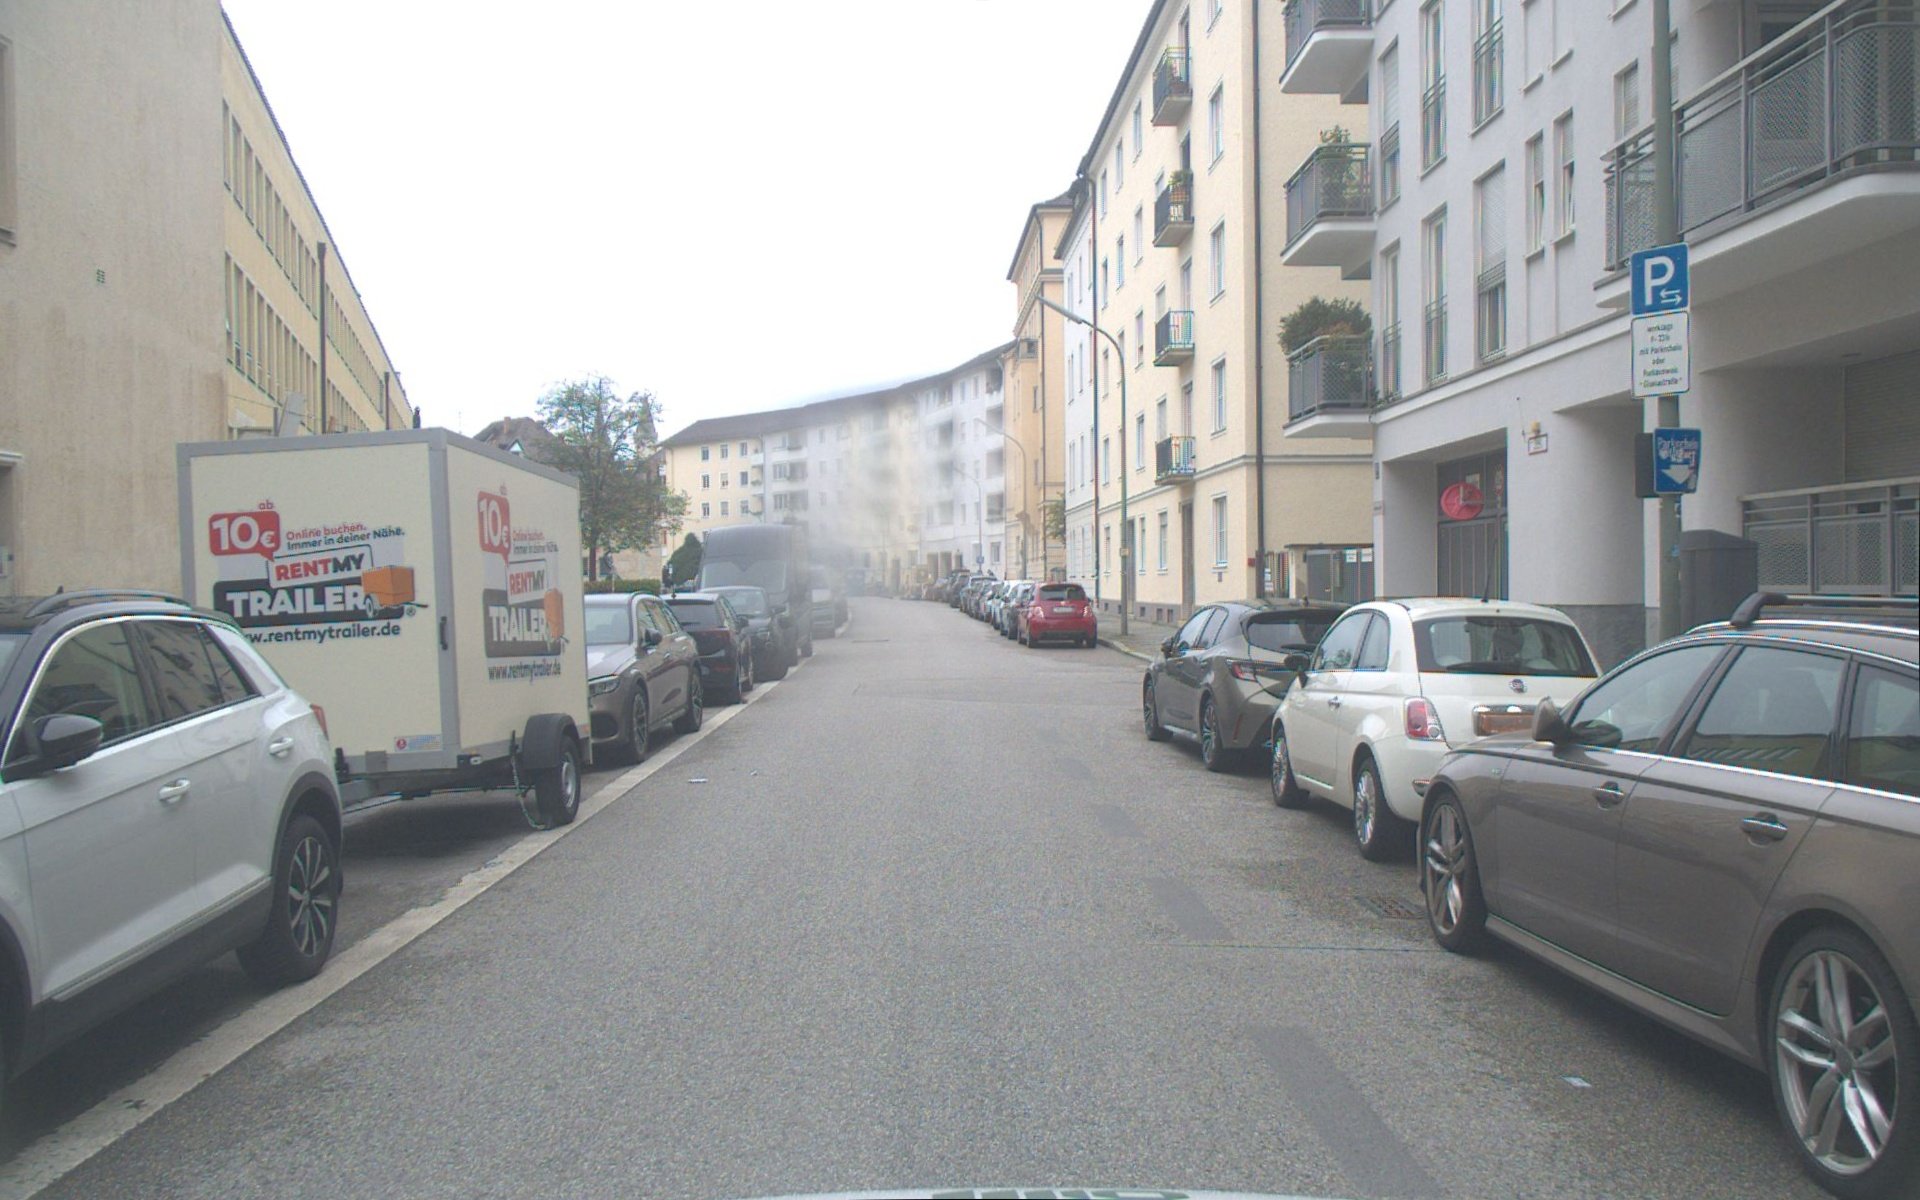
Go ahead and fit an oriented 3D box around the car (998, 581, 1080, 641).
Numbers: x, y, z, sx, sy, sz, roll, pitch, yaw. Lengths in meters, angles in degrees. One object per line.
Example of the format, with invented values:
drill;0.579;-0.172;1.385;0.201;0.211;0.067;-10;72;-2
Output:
car;2.055;0.256;44.306;1.737;1.454;4.613;0;1;-3

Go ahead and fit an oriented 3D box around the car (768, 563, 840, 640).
car;-4.299;-0.016;45.629;1.878;1.994;4.956;0;1;-5

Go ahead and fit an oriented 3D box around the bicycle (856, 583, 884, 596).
bicycle;-7.700;-0.907;141.668;2.206;1.088;0.911;-1;0;-27

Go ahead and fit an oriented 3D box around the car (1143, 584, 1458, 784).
car;2.900;0.635;15.020;1.736;1.501;4.215;0;1;-4

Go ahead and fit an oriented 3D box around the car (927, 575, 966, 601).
car;-0.842;-0.765;101.574;1.872;1.503;4.940;0;1;-7

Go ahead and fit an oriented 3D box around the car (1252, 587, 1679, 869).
car;3.095;0.689;10.904;1.584;1.492;3.746;0;1;-1

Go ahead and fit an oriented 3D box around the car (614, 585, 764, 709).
car;-3.671;0.573;23.032;1.642;1.461;4.283;-3;1;-5

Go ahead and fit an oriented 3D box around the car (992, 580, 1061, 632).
car;1.957;0.144;49.877;1.690;1.454;4.291;0;1;-3

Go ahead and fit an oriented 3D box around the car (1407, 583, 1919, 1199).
car;3.069;0.714;5.402;1.755;1.508;4.601;1;1;-3

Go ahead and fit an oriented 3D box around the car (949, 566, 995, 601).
car;0.570;-0.873;85.149;2.126;1.769;5.022;0;1;-2

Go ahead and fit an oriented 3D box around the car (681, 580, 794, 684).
car;-3.650;0.470;27.634;1.620;1.523;3.905;-3;1;-5

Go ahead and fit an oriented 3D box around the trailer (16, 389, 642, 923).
trailer;-3.548;0.254;10.426;1.935;2.514;4.578;-3;1;2

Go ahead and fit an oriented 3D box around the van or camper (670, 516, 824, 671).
van or camper;-4.076;-0.161;32.648;2.246;2.697;5.561;-3;1;0

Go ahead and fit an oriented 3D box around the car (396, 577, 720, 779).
car;-3.665;0.606;16.126;1.825;1.568;5.092;-2;1;0

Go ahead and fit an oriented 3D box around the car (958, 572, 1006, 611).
car;0.982;-0.415;74.902;1.810;1.692;4.495;0;1;-4

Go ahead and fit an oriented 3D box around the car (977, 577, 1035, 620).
car;1.632;-0.074;60.119;1.690;1.475;4.185;0;1;-4

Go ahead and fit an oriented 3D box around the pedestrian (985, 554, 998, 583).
pedestrian;1.900;-1.880;100.020;0.605;1.719;0.919;-4;0;-3

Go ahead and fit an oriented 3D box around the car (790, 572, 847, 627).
car;-4.750;-0.060;55.921;1.680;1.719;4.139;-2;1;-2

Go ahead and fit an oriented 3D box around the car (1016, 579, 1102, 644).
car;2.311;0.240;39.335;1.622;1.454;3.754;0;1;-3

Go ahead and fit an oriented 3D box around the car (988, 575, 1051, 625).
car;1.936;-0.013;54.805;1.618;1.570;3.990;0;1;-4

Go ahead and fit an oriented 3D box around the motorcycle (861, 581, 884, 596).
motorcycle;-7.072;-0.919;133.626;0.920;1.242;2.486;0;1;-26

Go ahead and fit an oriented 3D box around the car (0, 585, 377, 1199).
car;-3.327;0.779;5.141;1.645;1.557;4.106;-2;1;-2

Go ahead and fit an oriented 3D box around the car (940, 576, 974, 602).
car;-0.186;-0.655;95.334;1.599;1.442;3.675;0;1;-5
